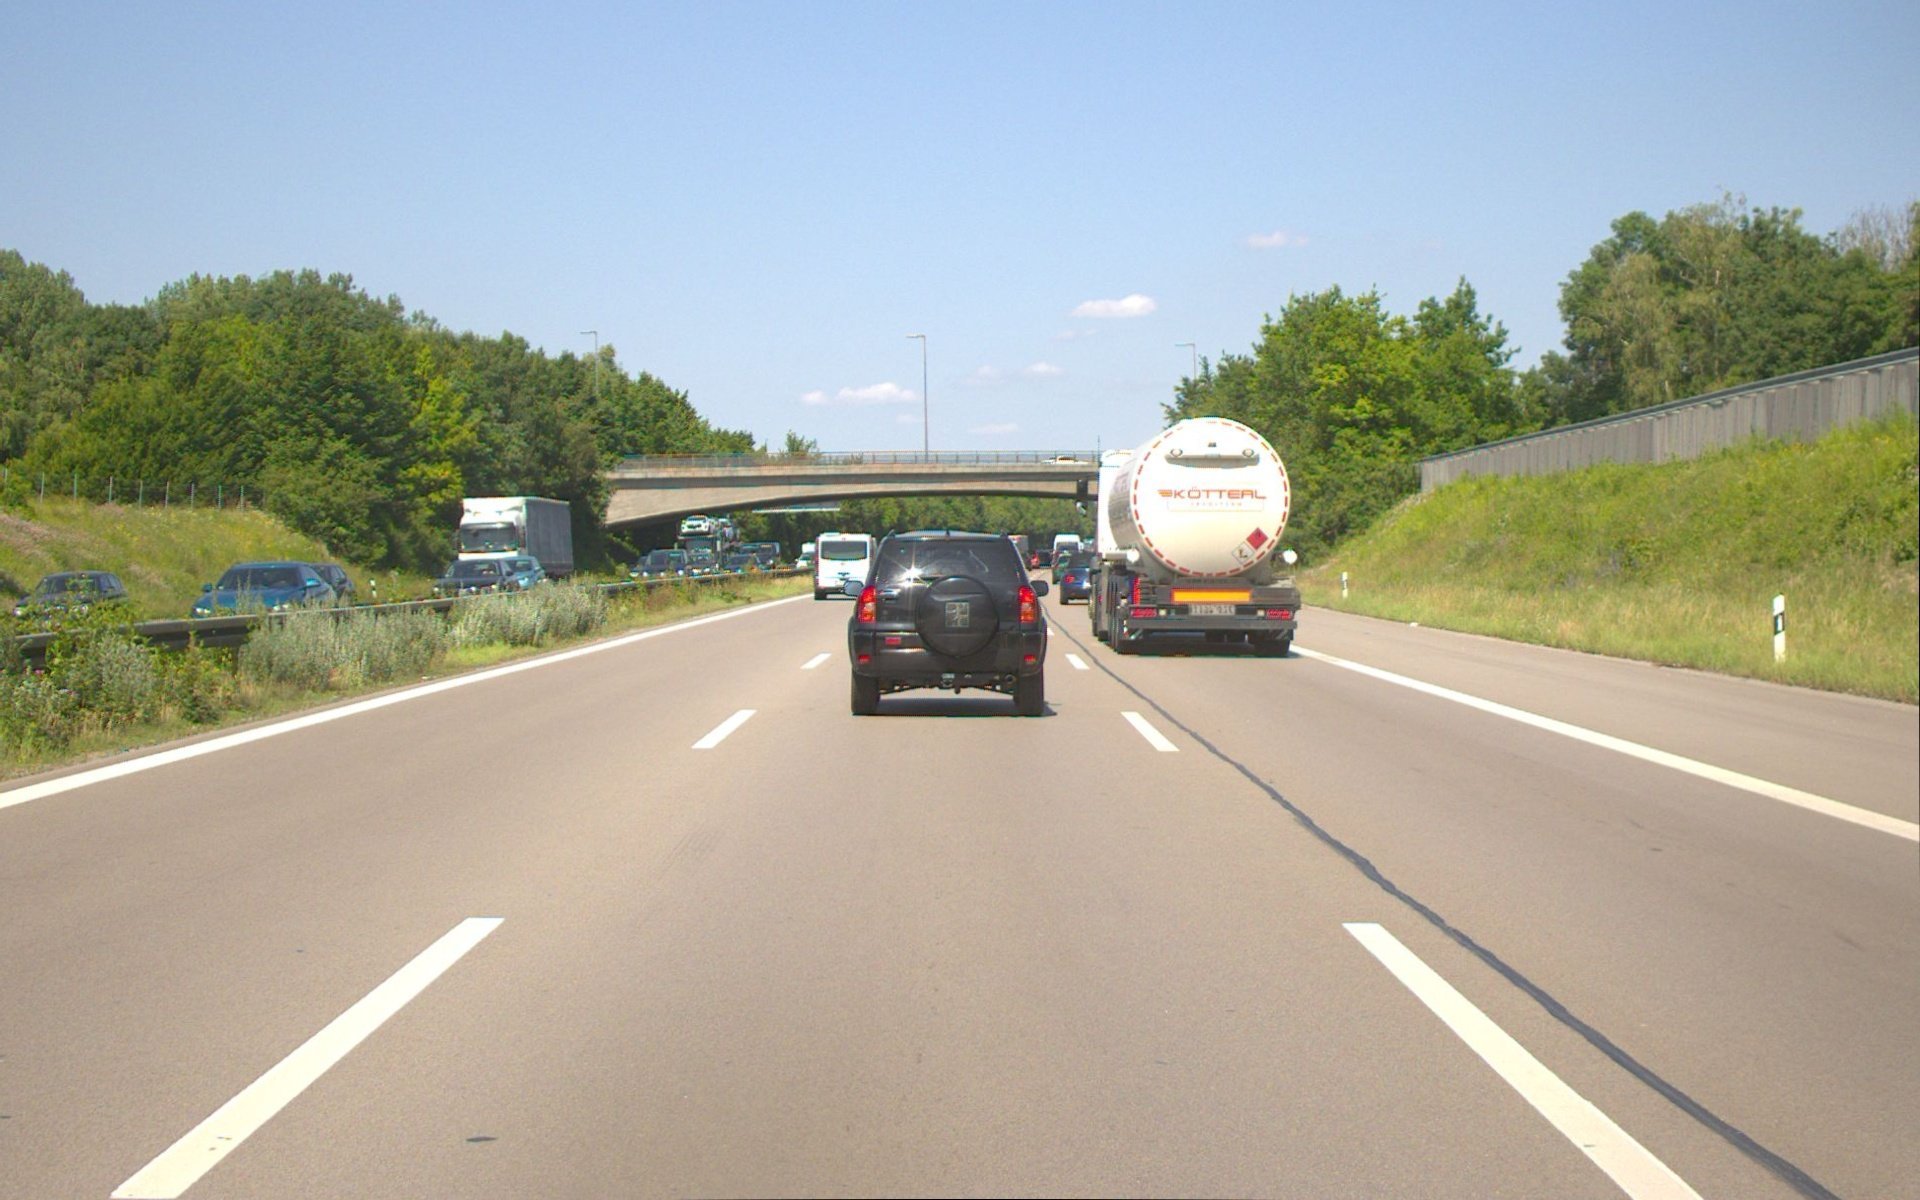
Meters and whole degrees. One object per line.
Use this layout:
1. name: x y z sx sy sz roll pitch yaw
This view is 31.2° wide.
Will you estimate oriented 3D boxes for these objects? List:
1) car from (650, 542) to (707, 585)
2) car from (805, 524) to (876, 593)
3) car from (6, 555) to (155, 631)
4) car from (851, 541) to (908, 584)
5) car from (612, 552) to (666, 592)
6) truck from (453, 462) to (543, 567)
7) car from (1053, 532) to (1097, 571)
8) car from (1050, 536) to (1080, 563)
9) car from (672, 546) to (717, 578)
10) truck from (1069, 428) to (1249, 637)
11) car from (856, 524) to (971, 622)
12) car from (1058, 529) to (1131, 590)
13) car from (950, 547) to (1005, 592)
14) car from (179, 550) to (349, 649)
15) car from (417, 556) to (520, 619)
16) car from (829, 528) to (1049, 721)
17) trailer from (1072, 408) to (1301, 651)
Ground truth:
1. car: -10.852 -1.430 132.780 1.858 1.595 4.721 -1 1 0
2. car: -3.640 -1.270 105.705 1.993 2.007 4.950 -1 1 0
3. car: -18.840 -0.178 73.880 1.895 1.433 4.924 -3 1 0
4. car: -2.982 -1.389 127.784 1.993 1.547 4.000 0 0 0
5. car: -14.871 -1.322 159.520 1.993 1.773 4.261 -1 1 1
6. truck: -18.824 -3.459 140.405 2.672 4.064 6.076 -2 1 0
7. car: 5.421 -2.299 161.838 1.993 1.773 4.261 -1 1 2
8. car: 7.002 -3.372 229.481 1.812 1.740 4.000 -1 1 0
9. car: -14.228 -2.053 184.186 1.964 1.635 4.895 -1 1 1
10. truck: 3.323 -1.140 58.942 2.638 3.363 6.488 1 1 0
11. car: -0.861 -0.510 63.325 1.993 1.700 4.336 -1 1 -1
12. car: 3.829 -1.151 98.570 1.993 1.678 4.000 0 0 1
13. car: 0.665 -1.106 125.580 1.842 1.606 4.000 0 0 3
14. car: -11.702 -0.042 58.080 1.833 1.560 4.956 -1 1 0
15. car: -12.428 -0.342 87.178 1.895 1.422 4.764 -3 1 0
16. car: -0.170 0.191 31.949 1.906 1.659 4.000 0 1 0
17. trailer: 3.361 -1.067 53.773 2.648 3.378 11.152 0 1 -1
